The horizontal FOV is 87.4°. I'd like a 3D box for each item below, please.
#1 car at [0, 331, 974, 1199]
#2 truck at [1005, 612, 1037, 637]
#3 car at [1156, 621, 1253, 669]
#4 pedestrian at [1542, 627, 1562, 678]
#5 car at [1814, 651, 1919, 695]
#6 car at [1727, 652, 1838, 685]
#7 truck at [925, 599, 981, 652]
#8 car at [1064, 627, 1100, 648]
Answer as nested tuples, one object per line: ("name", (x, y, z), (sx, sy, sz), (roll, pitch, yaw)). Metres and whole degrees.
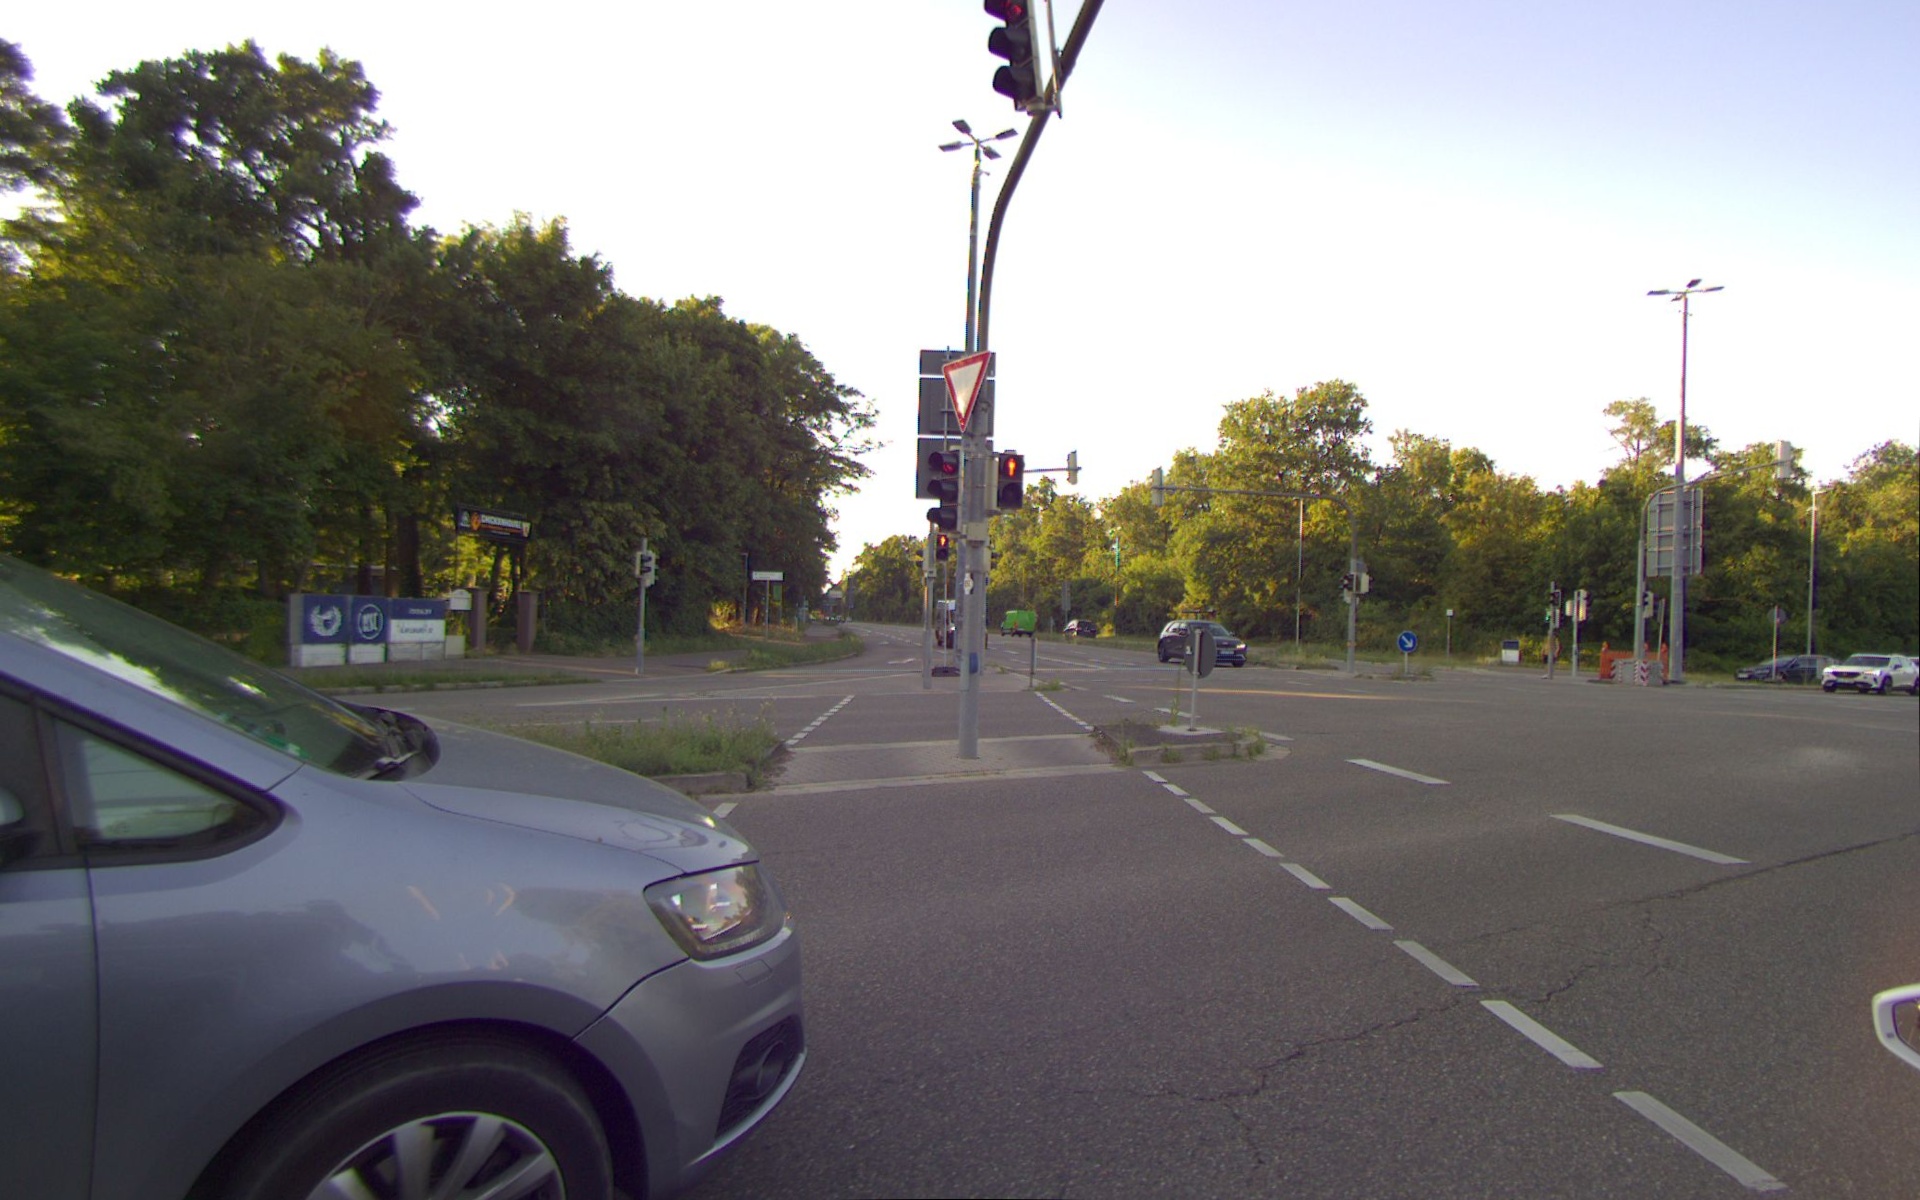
("car", (-2.414, 0.491, 1.732), (4.609, 1.747, 1.856), (2, -1, -32))
("truck", (5.596, 2.258, 92.962), (1.965, 2.149, 3.992), (2, -1, -11))
("car", (8.709, 1.568, 36.181), (1.967, 1.540, 3.994), (2, -1, -9))
("pedestrian", (21.636, 1.910, 36.690), (0.565, 1.824, 0.749), (1, -1, 28))
("car", (33.627, 2.700, 37.074), (4.178, 1.475, 1.711), (2, -1, -26))
("car", (35.684, 2.970, 43.618), (3.578, 1.260, 1.606), (2, -1, -4))
("truck", (-0.292, 1.283, 53.735), (2.553, 2.591, 6.024), (2, 0, 3))
("car", (9.214, 2.831, 75.994), (1.634, 1.345, 4.041), (2, 0, -8))
